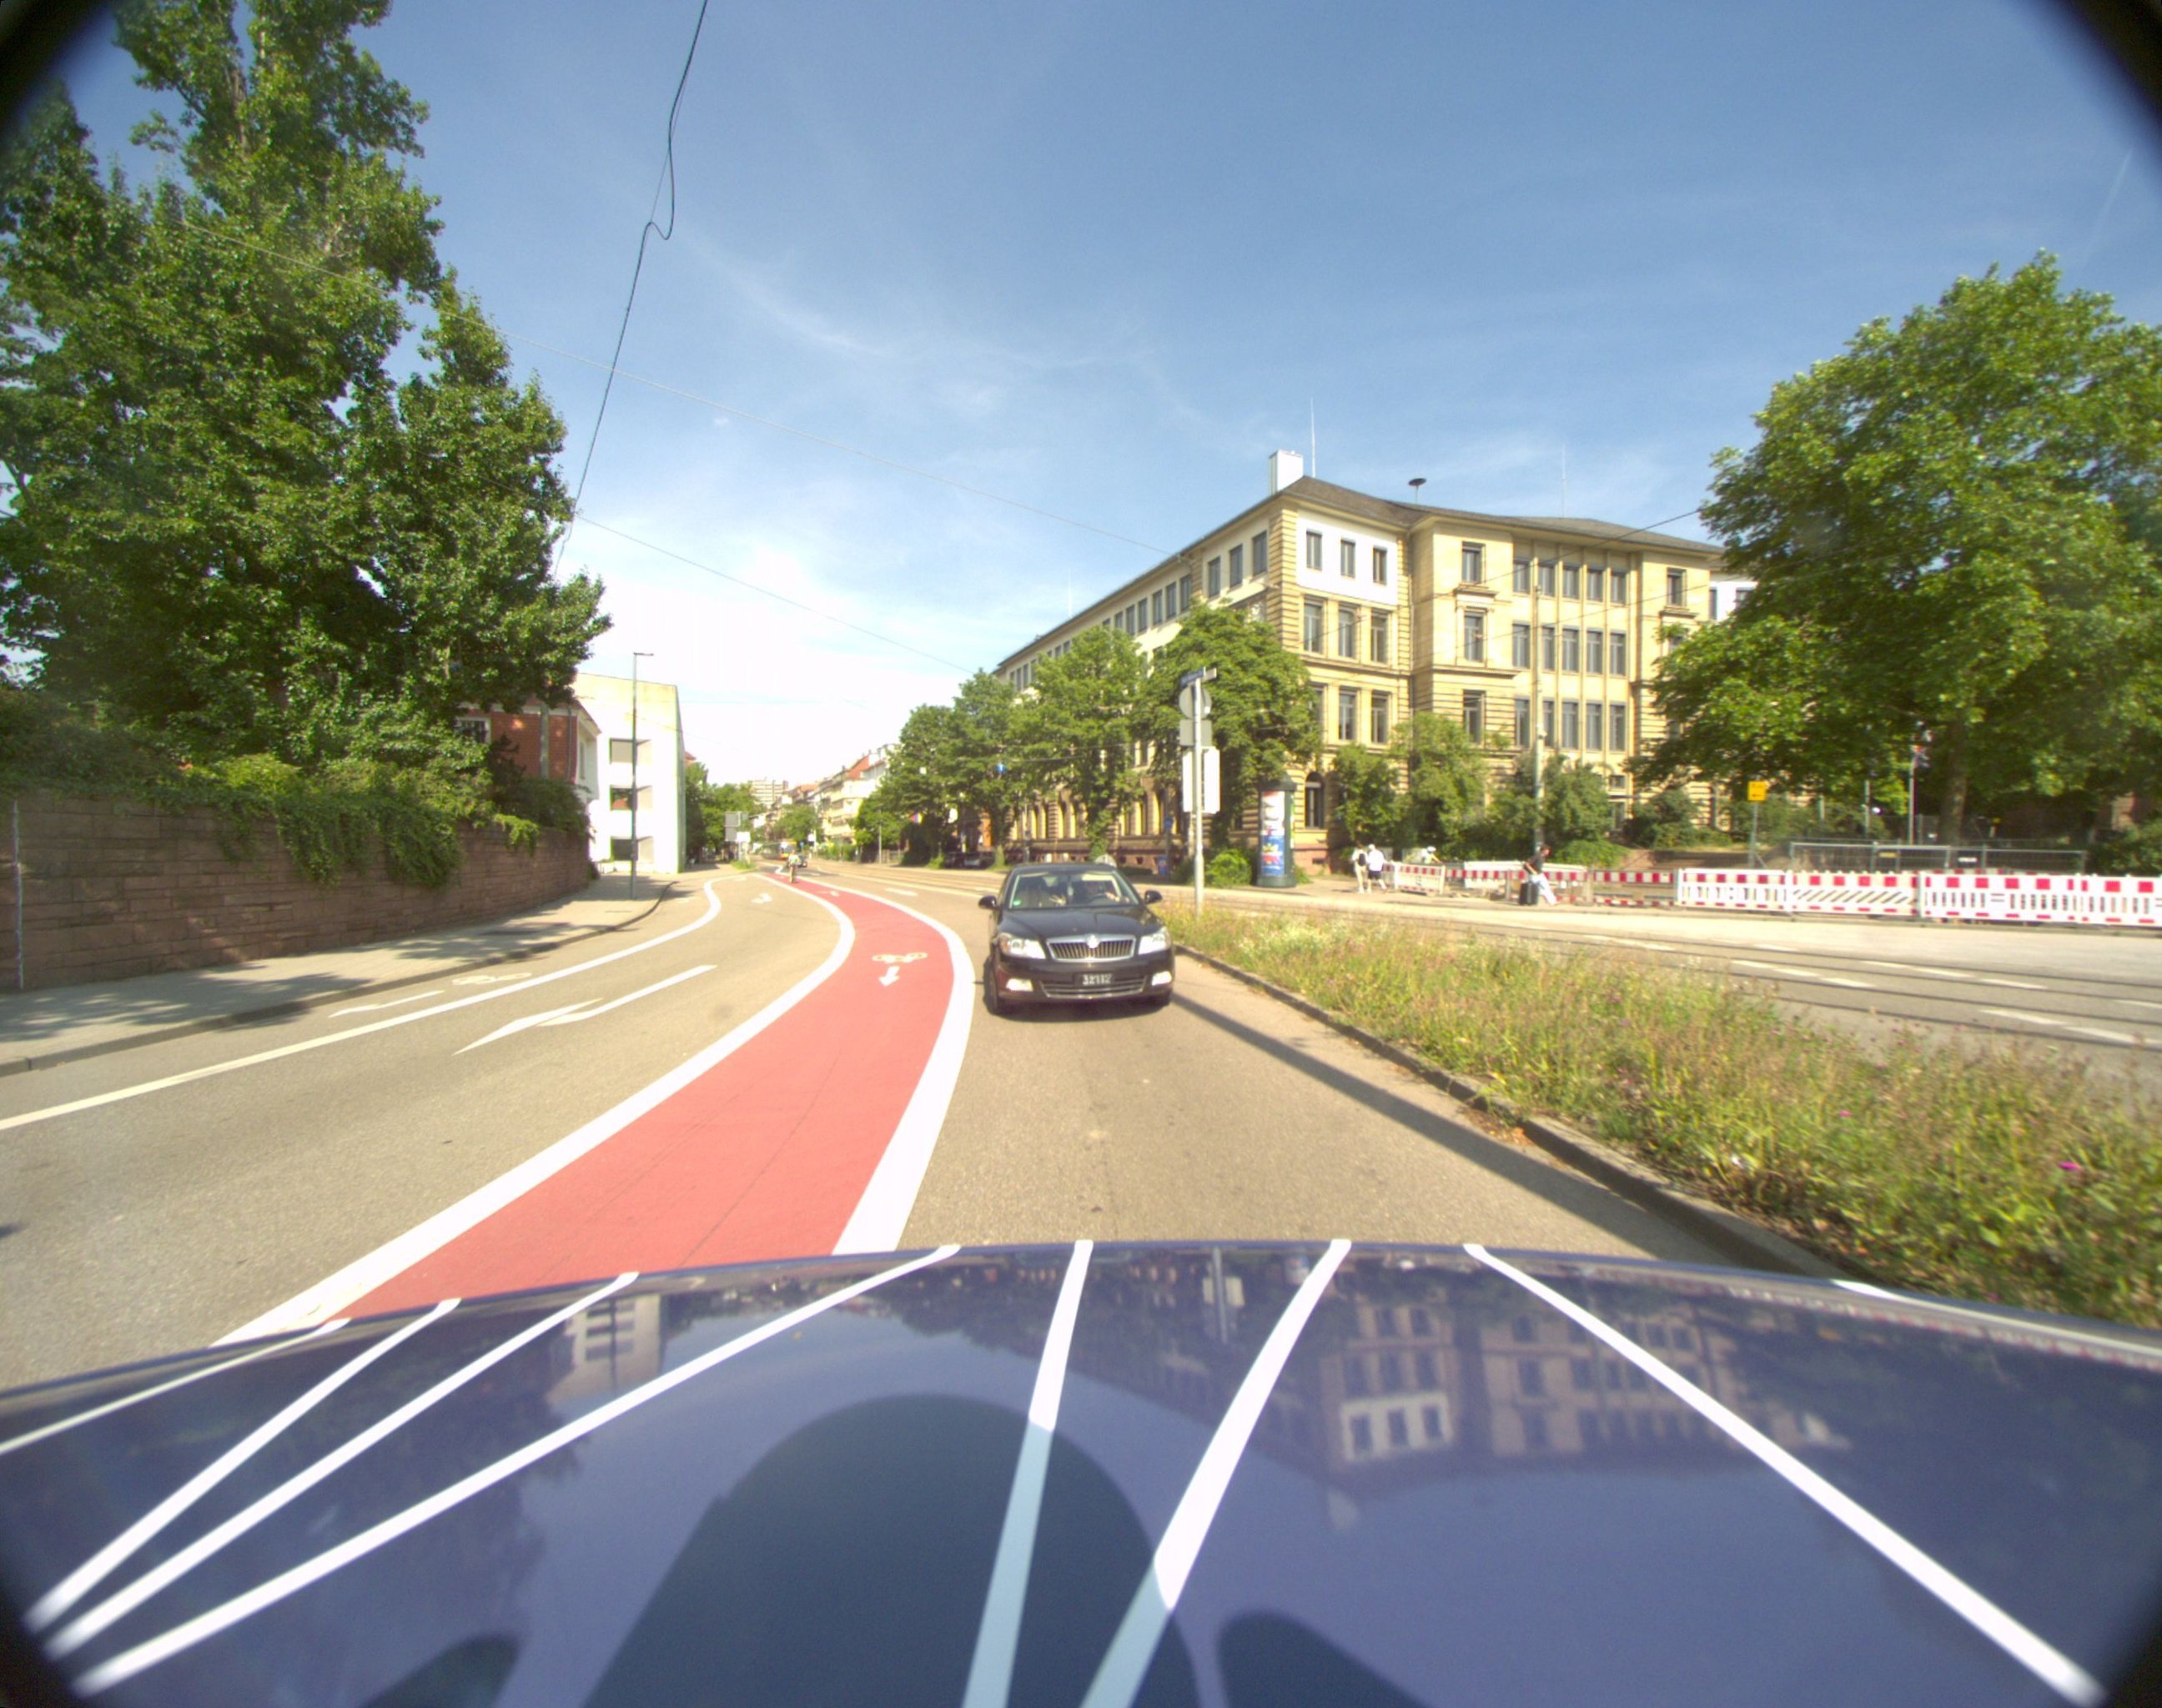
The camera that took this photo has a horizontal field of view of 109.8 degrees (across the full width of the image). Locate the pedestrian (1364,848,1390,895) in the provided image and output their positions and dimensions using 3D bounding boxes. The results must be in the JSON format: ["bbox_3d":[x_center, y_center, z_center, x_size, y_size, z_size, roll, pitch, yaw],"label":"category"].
[{"bbox_3d":[11.090,0.646,28.503,0.743,1.740,0.586,1,1,41],"label":"pedestrian"}]

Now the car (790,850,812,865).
[{"bbox_3d":[-27.212,0.314,73.806,1.805,1.368,4.268,0,1,-22],"label":"car"}]

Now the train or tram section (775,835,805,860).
[{"bbox_3d":[-48.714,-1.083,127.032,3.221,3.838,14.554,0,0,-26],"label":"train or tram section"}]

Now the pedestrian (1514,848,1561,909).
[{"bbox_3d":[12.766,0.666,21.273,0.938,1.646,0.845,0,1,17],"label":"pedestrian"}]

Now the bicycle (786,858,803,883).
[{"bbox_3d":[-14.774,0.832,39.123,0.687,1.215,2.182,0,1,-24],"label":"bicycle"}]

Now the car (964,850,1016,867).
[{"bbox_3d":[-7.828,0.361,65.516,4.006,1.455,1.995,0,1,-28],"label":"car"}]

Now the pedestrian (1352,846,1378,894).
[{"bbox_3d":[10.476,0.587,28.012,0.743,1.740,0.586,1,1,42],"label":"pedestrian"}]

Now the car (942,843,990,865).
[{"bbox_3d":[-10.656,0.024,70.313,4.006,2.002,1.995,0,1,-28],"label":"car"}]

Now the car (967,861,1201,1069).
[{"bbox_3d":[-0.234,0.889,8.424,1.865,1.510,4.823,0,1,-7],"label":"car"}]

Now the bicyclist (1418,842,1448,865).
[{"bbox_3d":[14.264,-0.042,30.817,0.684,0.922,0.867,-1,1,-31],"label":"bicyclist"}]

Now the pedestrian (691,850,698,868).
[{"bbox_3d":[-33.629,0.402,66.079,0.550,1.559,0.929,-1,1,-27],"label":"pedestrian"}]

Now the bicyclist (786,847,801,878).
[{"bbox_3d":[-14.745,0.445,39.002,0.589,1.539,0.929,-3,2,-24],"label":"bicyclist"}]

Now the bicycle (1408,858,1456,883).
[{"bbox_3d":[14.226,0.651,30.831,0.703,0.941,1.661,-1,1,-31],"label":"bicycle"}]
